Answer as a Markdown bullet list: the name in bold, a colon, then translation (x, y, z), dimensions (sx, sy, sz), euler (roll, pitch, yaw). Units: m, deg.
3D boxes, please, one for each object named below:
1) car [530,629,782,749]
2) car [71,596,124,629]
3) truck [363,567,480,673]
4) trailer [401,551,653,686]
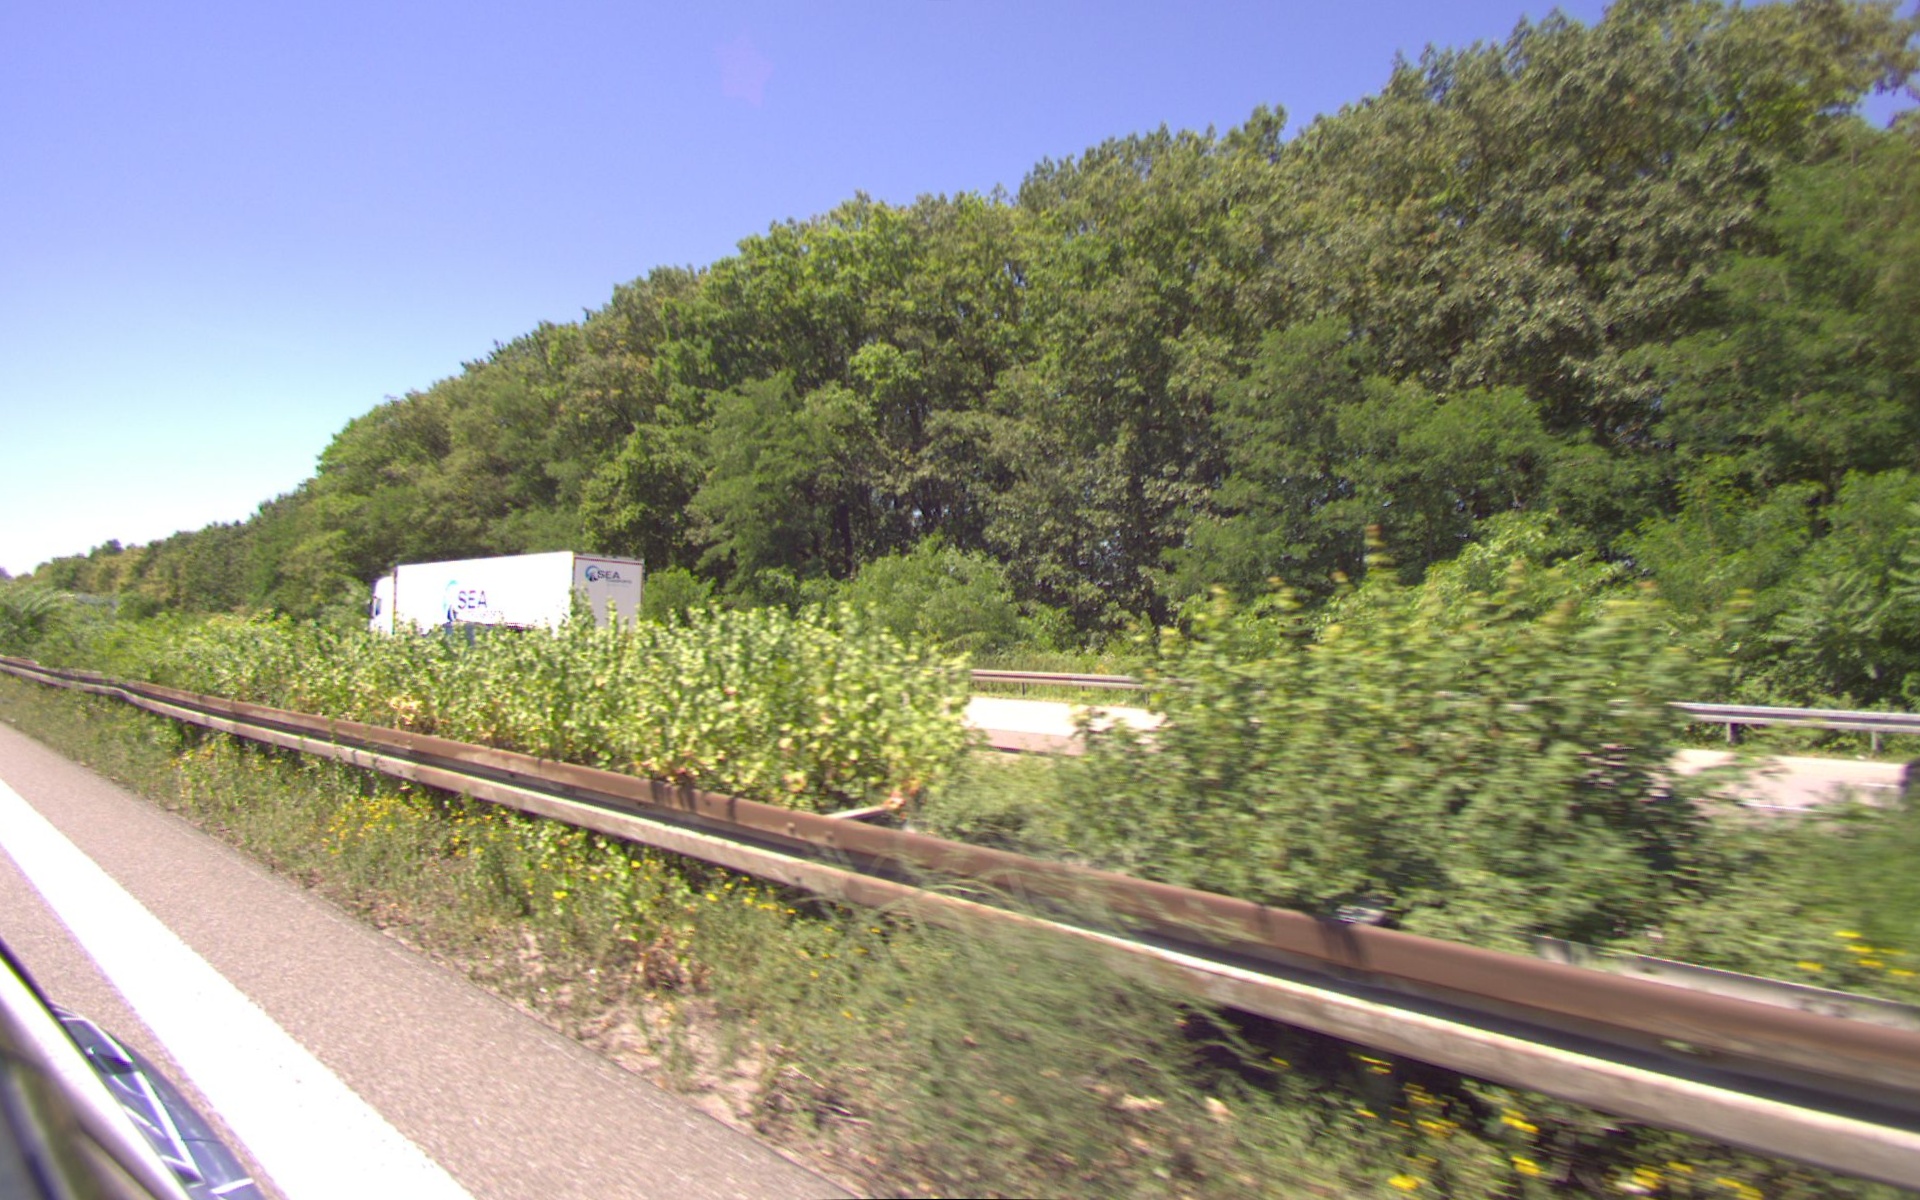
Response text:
- **car**: translation (-4.592, 1.201, 15.028), dimensions (3.998, 1.522, 1.751), euler (-1, -2, 41)
- **car**: translation (-55.283, 0.834, 64.861), dimensions (3.998, 2.029, 2.028), euler (-1, -2, 41)
- **truck**: translation (-21.931, 0.866, 41.210), dimensions (4.183, 4.065, 2.804), euler (-1, -3, 41)
- **trailer**: translation (-15.706, 0.722, 35.790), dimensions (12.908, 4.065, 2.804), euler (-1, -3, 41)
